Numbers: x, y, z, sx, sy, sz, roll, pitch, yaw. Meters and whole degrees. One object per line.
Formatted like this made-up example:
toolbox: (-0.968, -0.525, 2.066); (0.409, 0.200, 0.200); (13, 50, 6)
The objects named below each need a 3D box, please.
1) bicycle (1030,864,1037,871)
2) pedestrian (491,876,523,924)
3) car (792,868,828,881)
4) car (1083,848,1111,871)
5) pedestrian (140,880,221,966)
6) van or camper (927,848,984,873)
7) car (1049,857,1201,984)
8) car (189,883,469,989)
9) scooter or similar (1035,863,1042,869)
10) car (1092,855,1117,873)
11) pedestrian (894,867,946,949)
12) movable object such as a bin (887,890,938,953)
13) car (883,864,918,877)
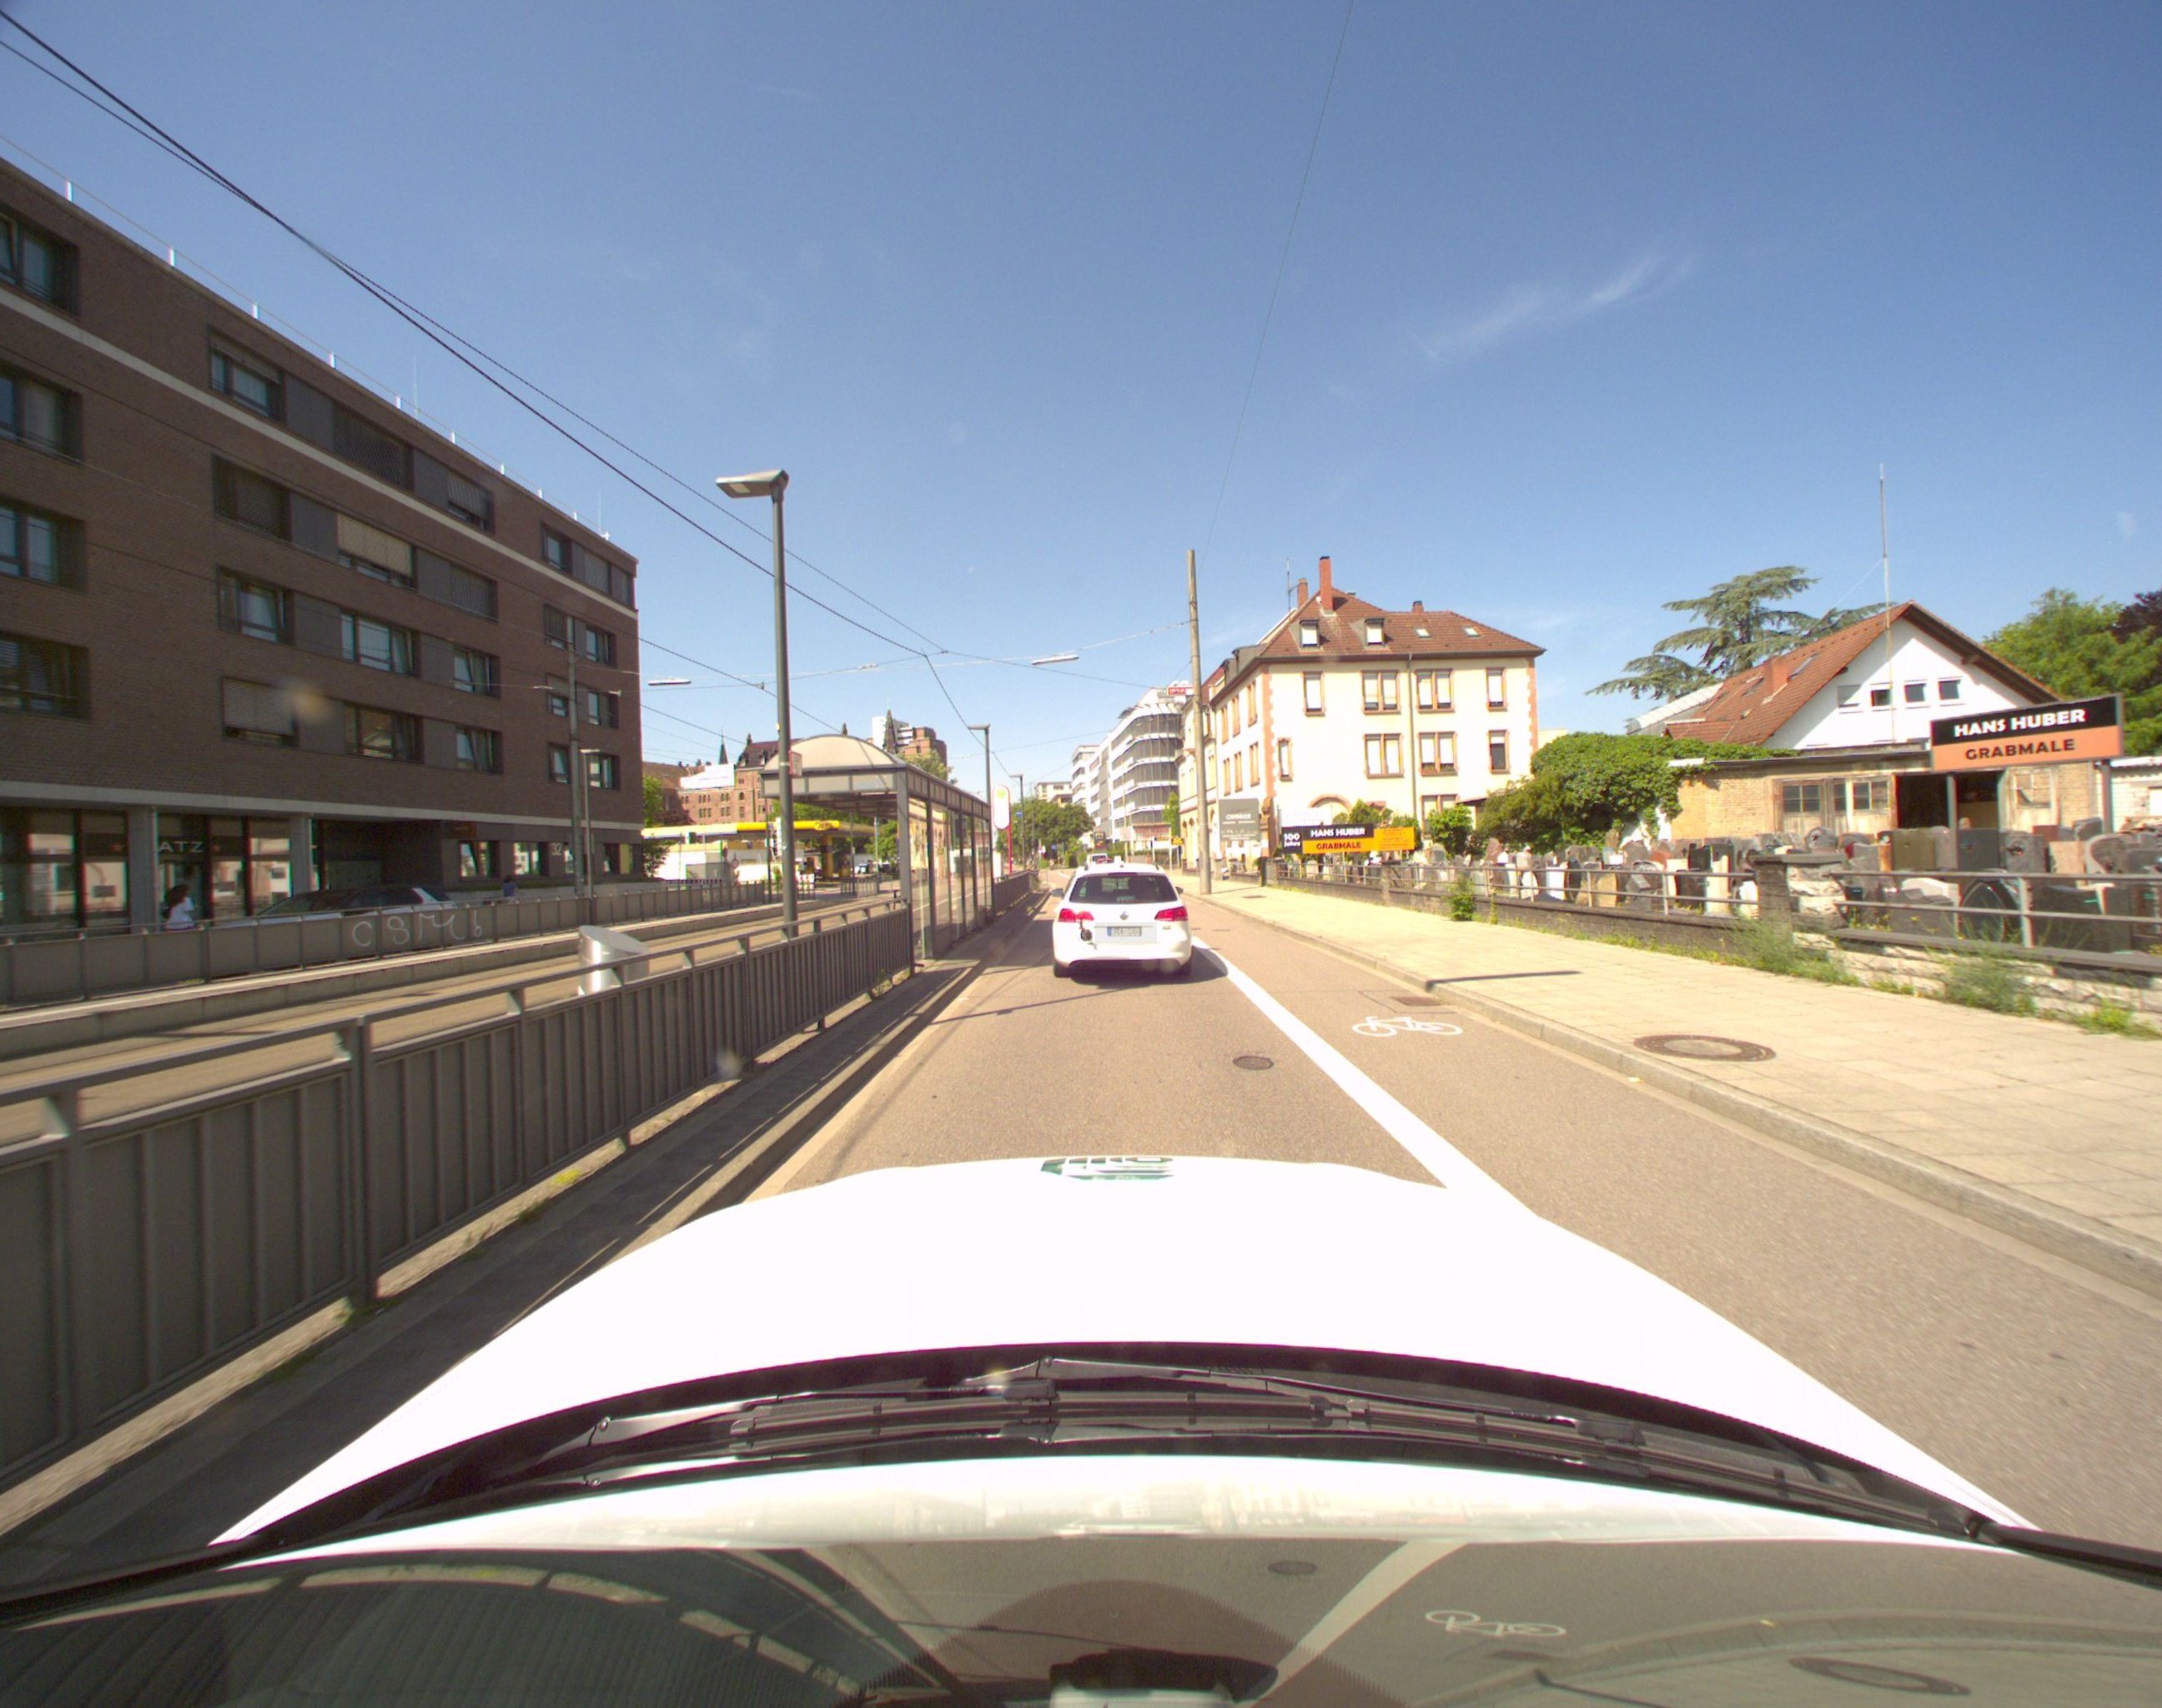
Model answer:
bicycle: (-6.910, 1.959, 118.611); (0.810, 1.078, 2.008); (-2, -1, -5)
pedestrian: (-20.622, 1.632, 29.280); (0.579, 1.664, 0.699); (-2, 0, 0)
car: (-35.876, 2.724, 107.815); (4.123, 1.527, 1.947); (-2, -1, 19)
car: (1.514, 0.531, 80.006); (1.974, 2.054, 5.180); (-4, 0, -6)
pedestrian: (-20.282, 1.534, 18.353); (0.841, 1.819, 0.839); (-2, 0, 1)
van or camper: (-15.350, 0.765, 99.481); (6.629, 2.967, 2.632); (0, -1, 27)
car: (0.510, 0.780, 11.676); (1.748, 1.442, 4.411); (-1, 0, 0)
car: (-15.173, 1.563, 16.821); (1.794, 1.729, 4.191); (-1, 0, 2)
scooter or similar: (-7.563, 2.138, 145.536); (1.139, 1.154, 0.493); (-2, -1, -1)
car: (2.094, 0.904, 73.616); (1.719, 1.443, 4.304); (-4, 0, -5)
pedestrian: (-2.611, 0.864, 13.245); (0.627, 1.255, 0.709); (-3, 0, 0)
movable object such as a bin: (-2.609, 1.041, 12.646); (0.627, 0.900, 0.489); (-3, 0, 0)
car: (-25.493, 2.324, 115.329); (1.924, 1.625, 4.608); (-3, -1, 38)
